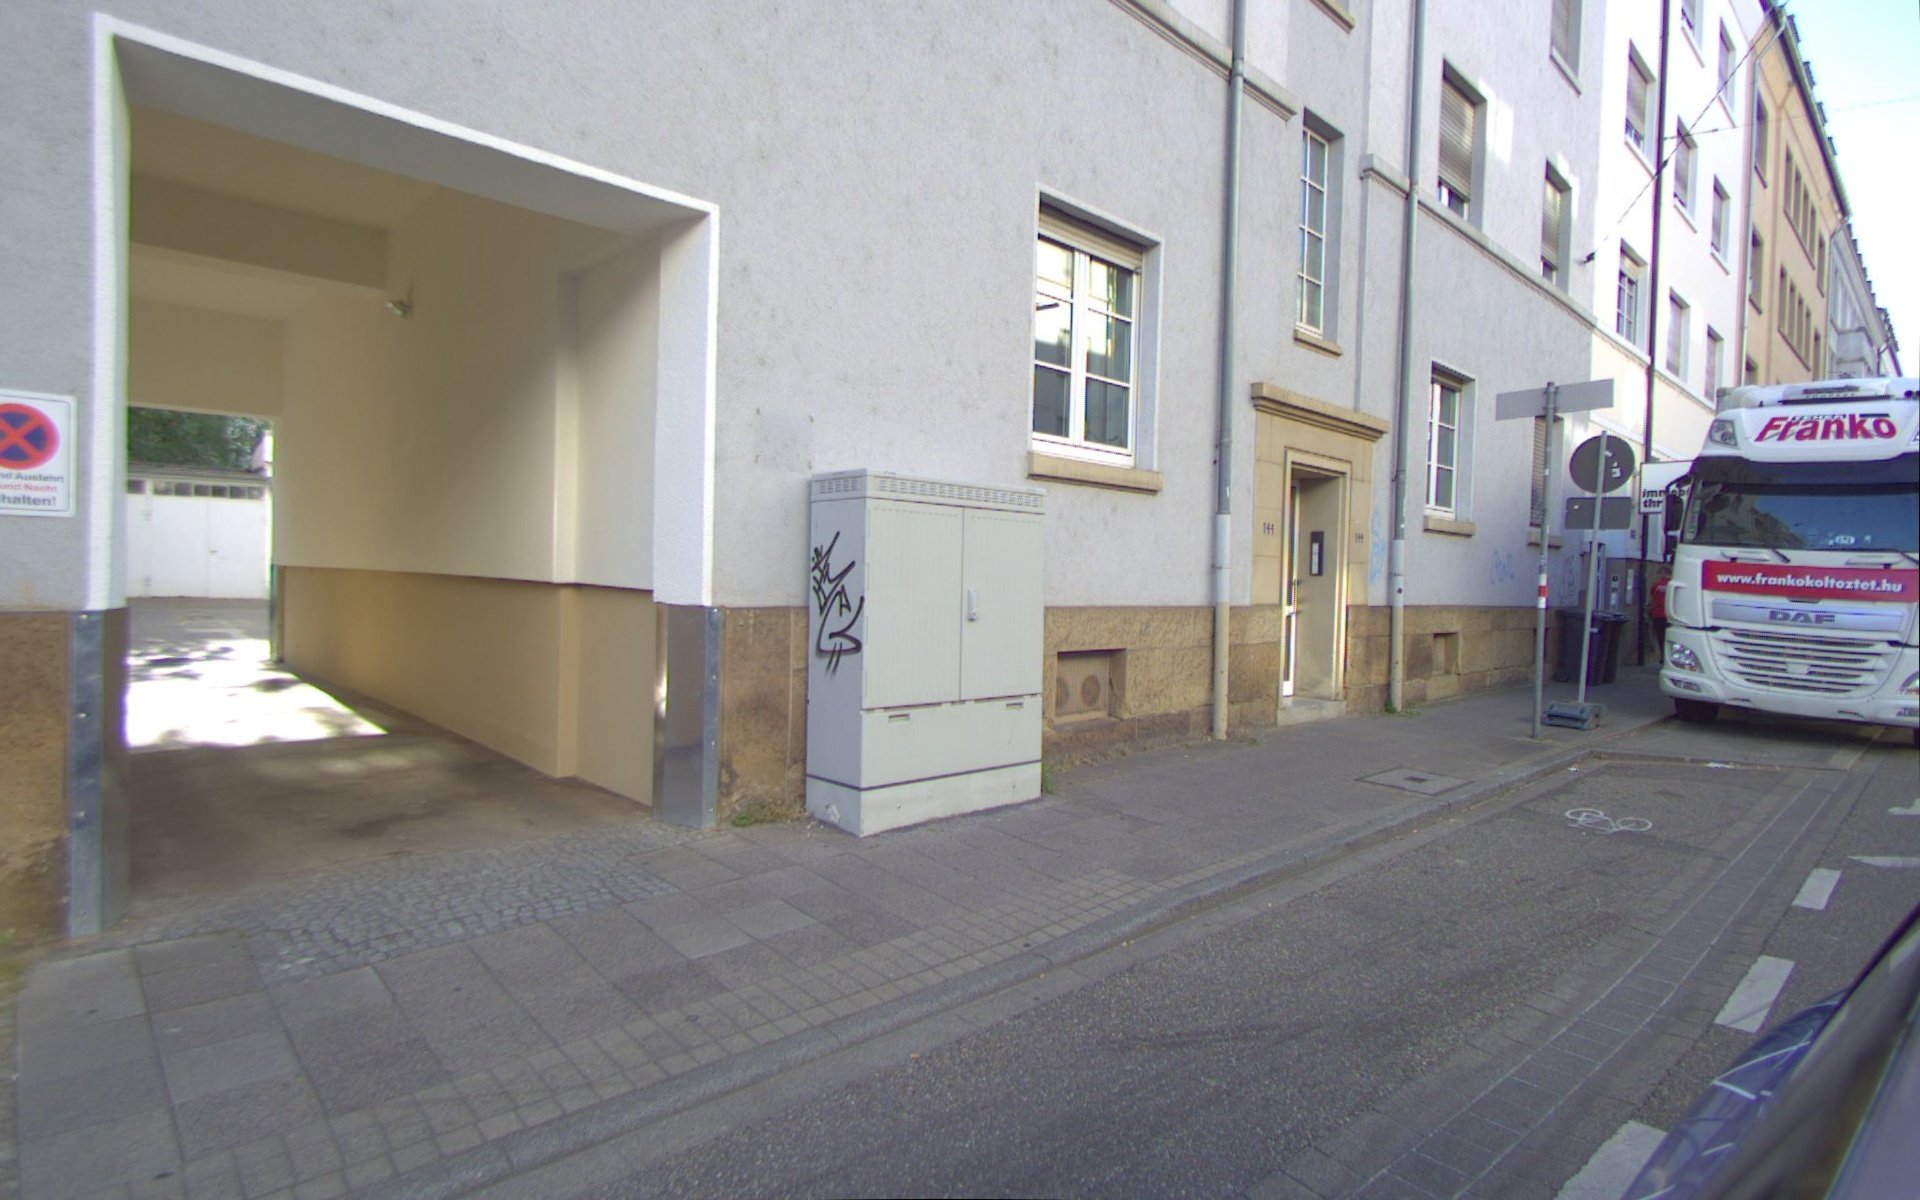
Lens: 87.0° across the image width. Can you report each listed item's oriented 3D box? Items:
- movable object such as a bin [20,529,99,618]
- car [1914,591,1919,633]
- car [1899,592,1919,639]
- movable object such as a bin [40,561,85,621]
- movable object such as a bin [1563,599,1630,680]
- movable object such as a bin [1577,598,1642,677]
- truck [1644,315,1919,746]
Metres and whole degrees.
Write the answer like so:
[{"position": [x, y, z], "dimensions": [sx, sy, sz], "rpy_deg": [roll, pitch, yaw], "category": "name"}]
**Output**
[{"position": [-15.149, -0.452, 17.020], "dimensions": [0.946, 1.426, 1.597], "rpy_deg": [0, 2, -43], "category": "movable object such as a bin"}, {"position": [37.680, 0.463, 38.632], "dimensions": [4.080, 1.551, 1.681], "rpy_deg": [0, 0, -44], "category": "car"}, {"position": [33.510, 0.531, 34.734], "dimensions": [4.080, 1.551, 1.681], "rpy_deg": [0, 0, -44], "category": "car"}, {"position": [-14.372, -0.146, 16.201], "dimensions": [0.518, 0.922, 0.580], "rpy_deg": [0, 2, -43], "category": "movable object such as a bin"}, {"position": [9.175, 0.552, 14.590], "dimensions": [0.560, 1.107, 0.665], "rpy_deg": [0, 2, -43], "category": "movable object such as a bin"}, {"position": [9.655, 0.544, 15.041], "dimensions": [0.560, 1.107, 0.665], "rpy_deg": [0, 2, -43], "category": "movable object such as a bin"}, {"position": [12.580, -0.678, 13.882], "dimensions": [11.621, 3.975, 2.778], "rpy_deg": [0, 2, -44], "category": "truck"}]
